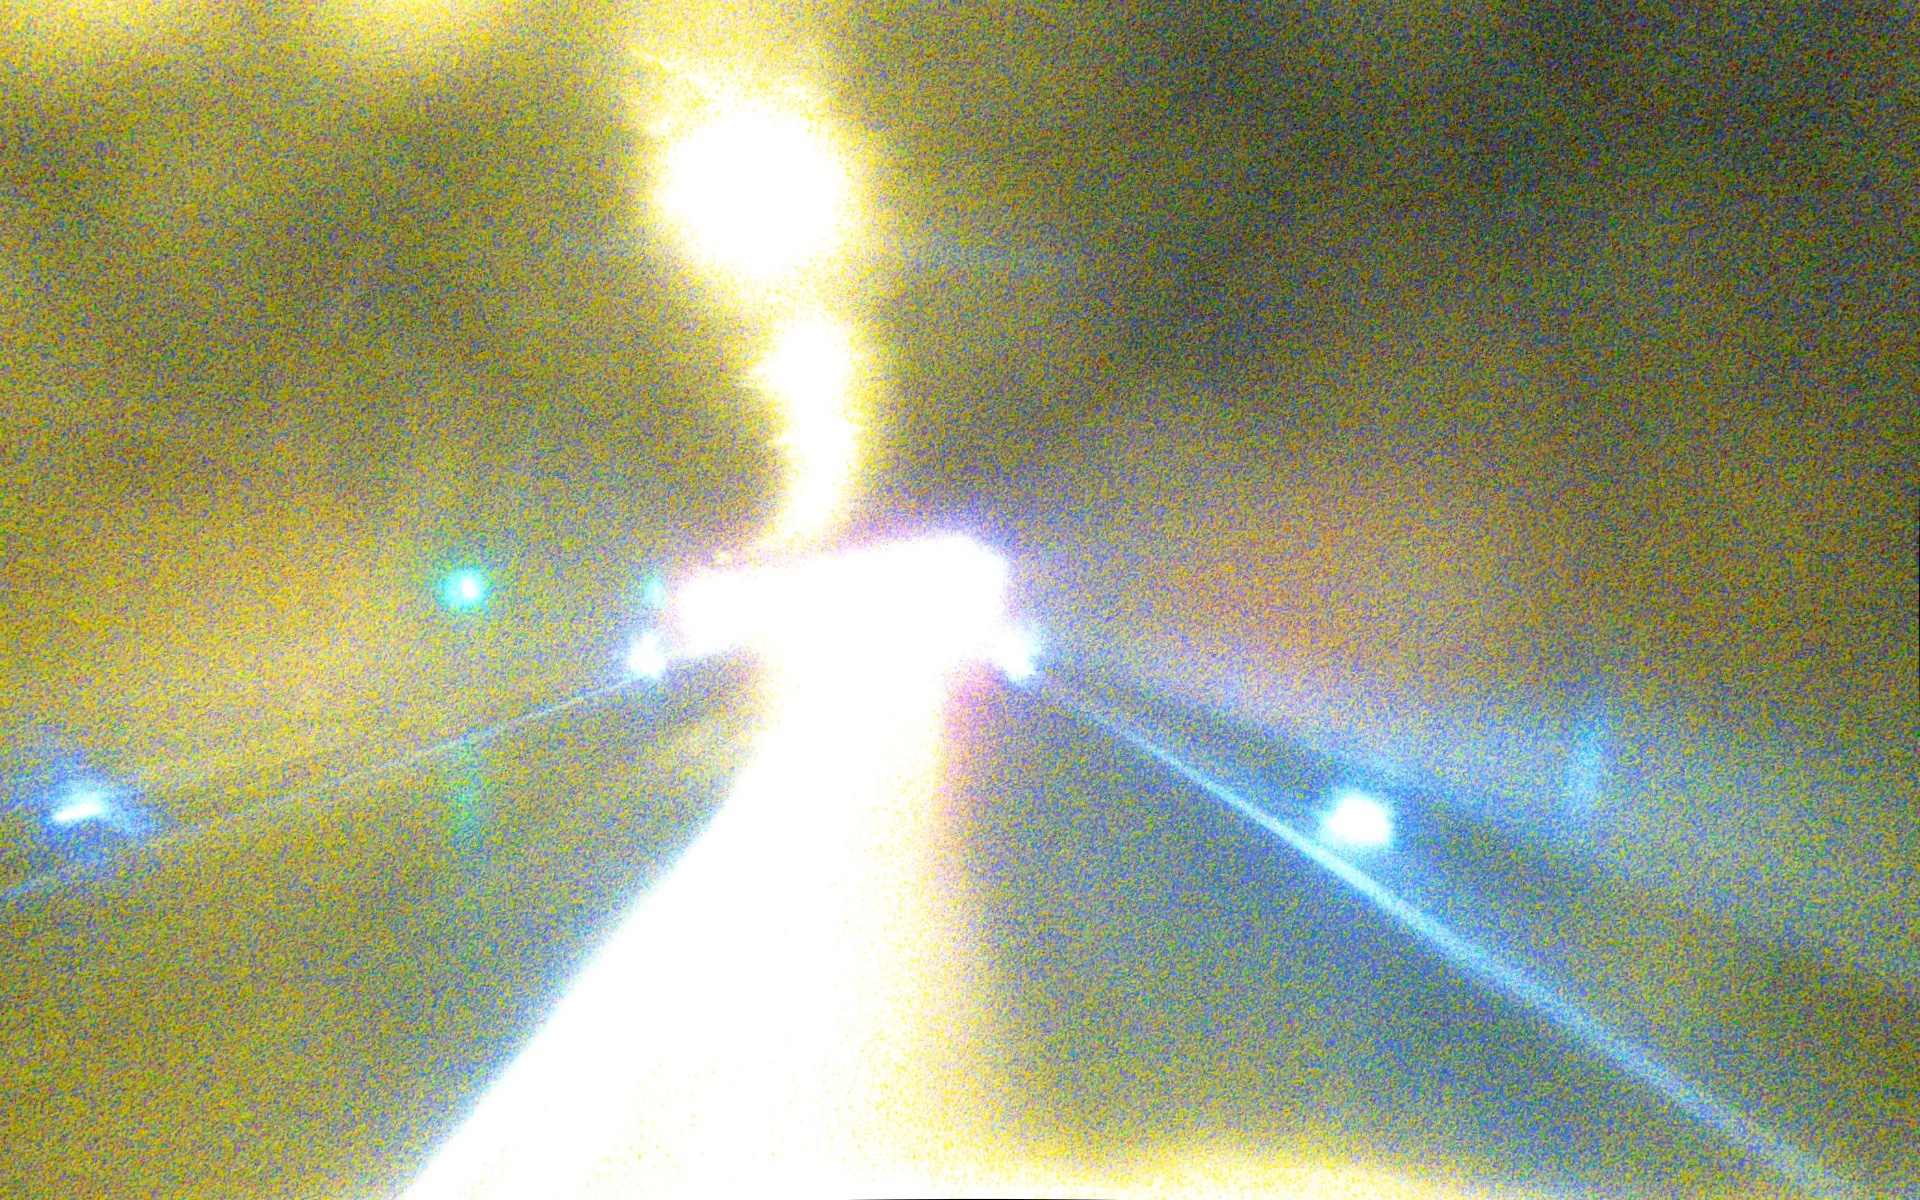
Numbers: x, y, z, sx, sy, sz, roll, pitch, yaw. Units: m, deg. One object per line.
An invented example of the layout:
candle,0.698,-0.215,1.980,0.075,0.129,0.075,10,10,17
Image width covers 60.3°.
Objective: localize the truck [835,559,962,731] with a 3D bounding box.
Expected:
truck,-1.194,0.827,34.152,2.216,3.063,7.413,2,0,-1
